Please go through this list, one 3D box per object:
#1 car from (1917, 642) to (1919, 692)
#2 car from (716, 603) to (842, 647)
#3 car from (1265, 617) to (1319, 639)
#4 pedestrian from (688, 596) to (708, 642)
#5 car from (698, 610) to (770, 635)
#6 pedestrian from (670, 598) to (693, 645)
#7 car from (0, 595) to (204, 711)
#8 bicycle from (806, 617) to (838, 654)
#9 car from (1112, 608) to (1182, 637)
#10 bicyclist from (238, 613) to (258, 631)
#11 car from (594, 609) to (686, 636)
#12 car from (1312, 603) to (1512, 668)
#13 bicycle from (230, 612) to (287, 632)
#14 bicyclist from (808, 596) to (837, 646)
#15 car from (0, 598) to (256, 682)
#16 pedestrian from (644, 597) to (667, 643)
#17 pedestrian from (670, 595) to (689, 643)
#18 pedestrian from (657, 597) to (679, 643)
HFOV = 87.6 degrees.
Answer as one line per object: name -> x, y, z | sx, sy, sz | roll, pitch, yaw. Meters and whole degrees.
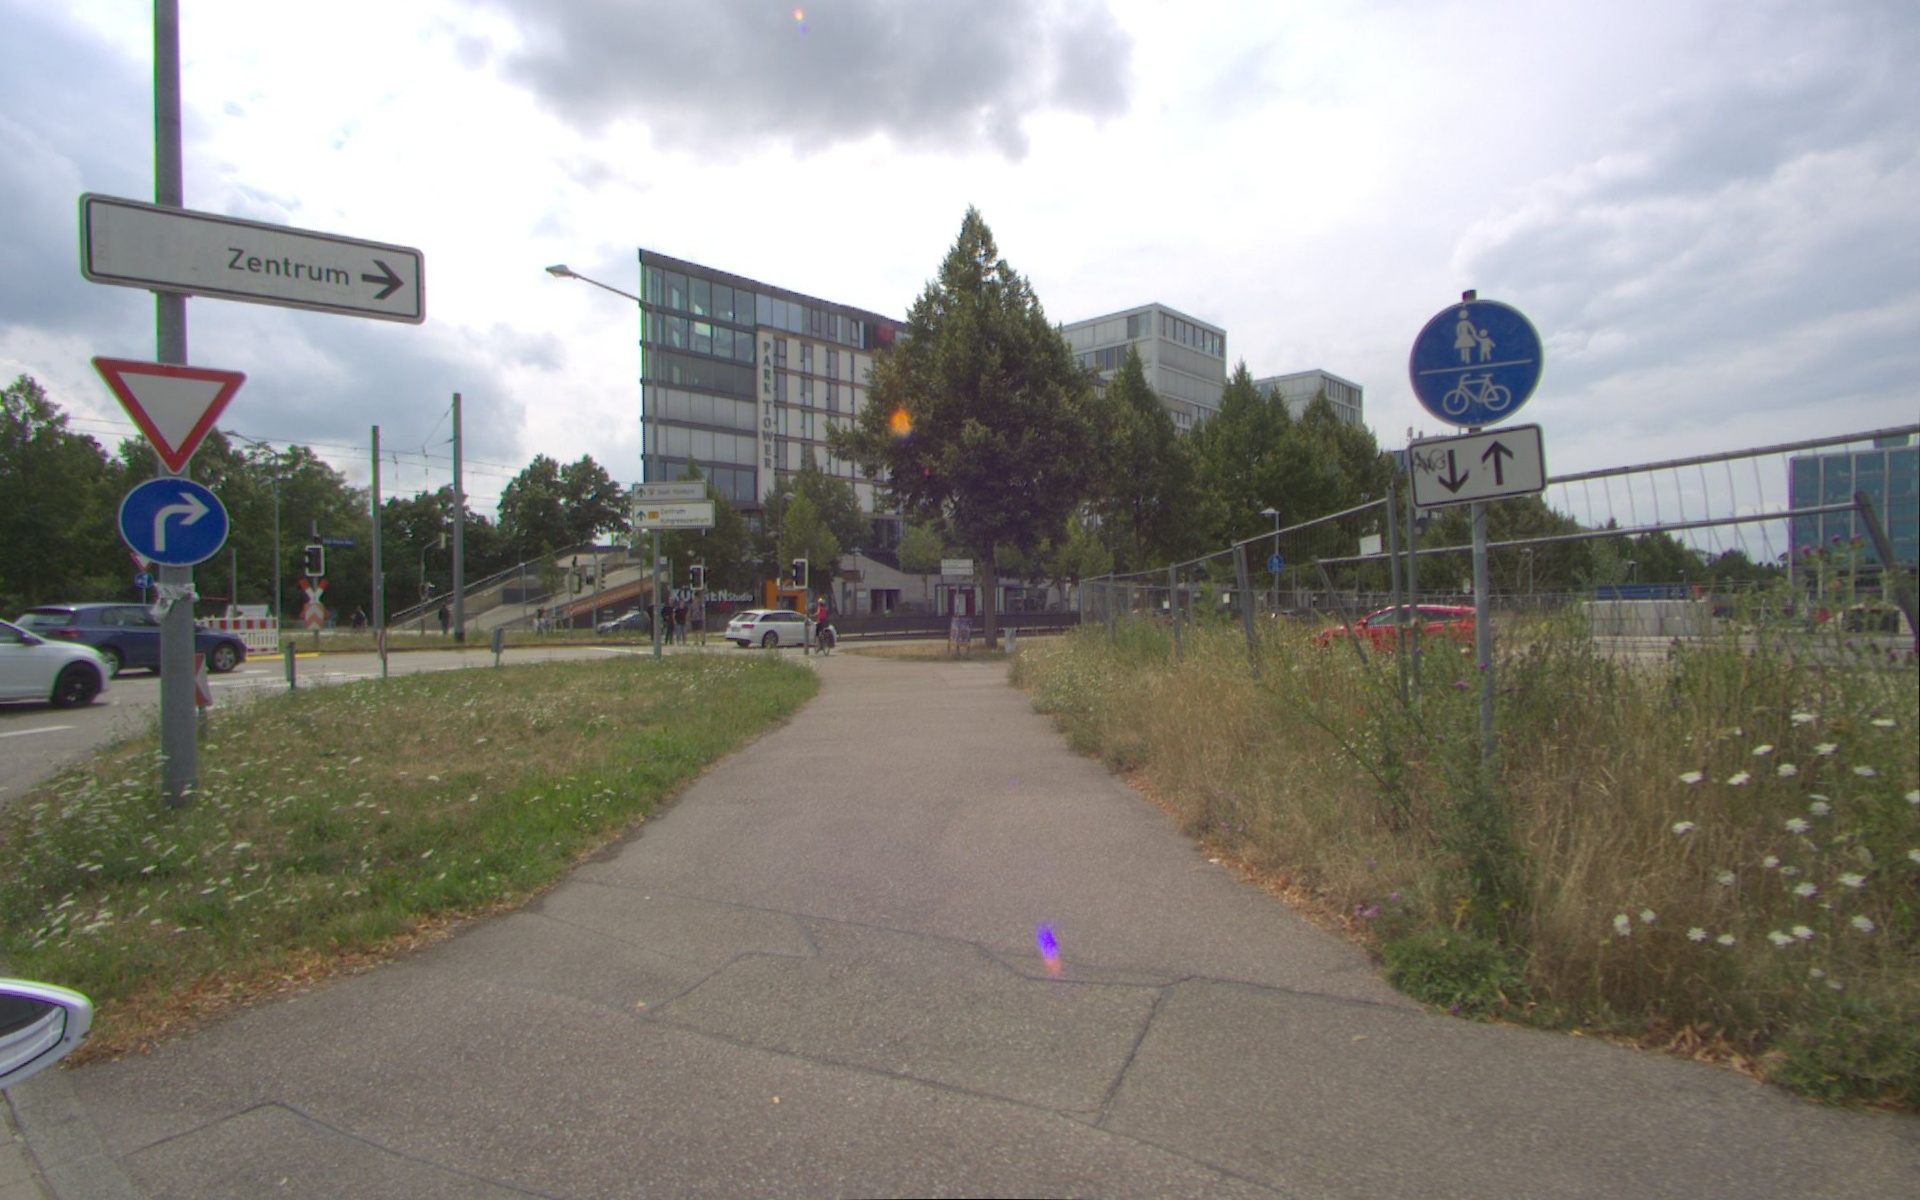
car -> 18.042, 0.564, 16.792 | 4.925, 1.937, 1.922 | 0, 2, -35
car -> -7.182, 0.968, 40.030 | 4.706, 1.639, 1.980 | 0, 0, -44
car -> 22.379, 1.884, 67.459 | 1.978, 1.392, 3.964 | 0, 0, 43
pedestrian -> -10.422, 0.757, 39.837 | 0.546, 1.805, 0.576 | 1, 1, 38
car -> -13.938, 1.351, 61.797 | 3.962, 1.477, 1.830 | 1, 0, -45
pedestrian -> -10.935, 0.837, 39.316 | 0.546, 1.805, 0.685 | 1, 0, 38
car -> -13.335, 0.695, 14.130 | 1.767, 1.517, 4.259 | 0, 0, 8
bicycle -> -4.732, 1.186, 34.190 | 0.777, 1.183, 2.037 | 0, 0, -17
car -> 11.357, 1.335, 60.590 | 1.978, 1.639, 4.711 | 0, 0, 43
bicyclist -> -34.599, 1.076, 48.640 | 0.647, 0.895, 0.606 | 0, -1, -20
car -> -18.139, 1.270, 56.944 | 1.830, 1.477, 4.694 | 0, 0, 45
car -> 11.701, 0.872, 26.072 | 4.472, 1.553, 1.777 | 0, 0, 38
bicycle -> -34.158, 1.080, 48.794 | 2.167, 0.950, 0.613 | 0, -1, -19
bicyclist -> -4.662, 0.708, 33.969 | 0.778, 1.649, 1.047 | 0, 0, -18
car -> -16.784, 0.744, 20.402 | 1.766, 1.517, 4.116 | 0, 0, 5
pedestrian -> -11.886, 0.781, 39.101 | 0.546, 1.805, 0.685 | 1, 0, 38
pedestrian -> -11.238, 0.751, 40.113 | 0.546, 1.887, 0.527 | 1, 1, 38
pedestrian -> -11.568, 0.793, 39.631 | 0.546, 1.805, 0.629 | 1, 1, 38
